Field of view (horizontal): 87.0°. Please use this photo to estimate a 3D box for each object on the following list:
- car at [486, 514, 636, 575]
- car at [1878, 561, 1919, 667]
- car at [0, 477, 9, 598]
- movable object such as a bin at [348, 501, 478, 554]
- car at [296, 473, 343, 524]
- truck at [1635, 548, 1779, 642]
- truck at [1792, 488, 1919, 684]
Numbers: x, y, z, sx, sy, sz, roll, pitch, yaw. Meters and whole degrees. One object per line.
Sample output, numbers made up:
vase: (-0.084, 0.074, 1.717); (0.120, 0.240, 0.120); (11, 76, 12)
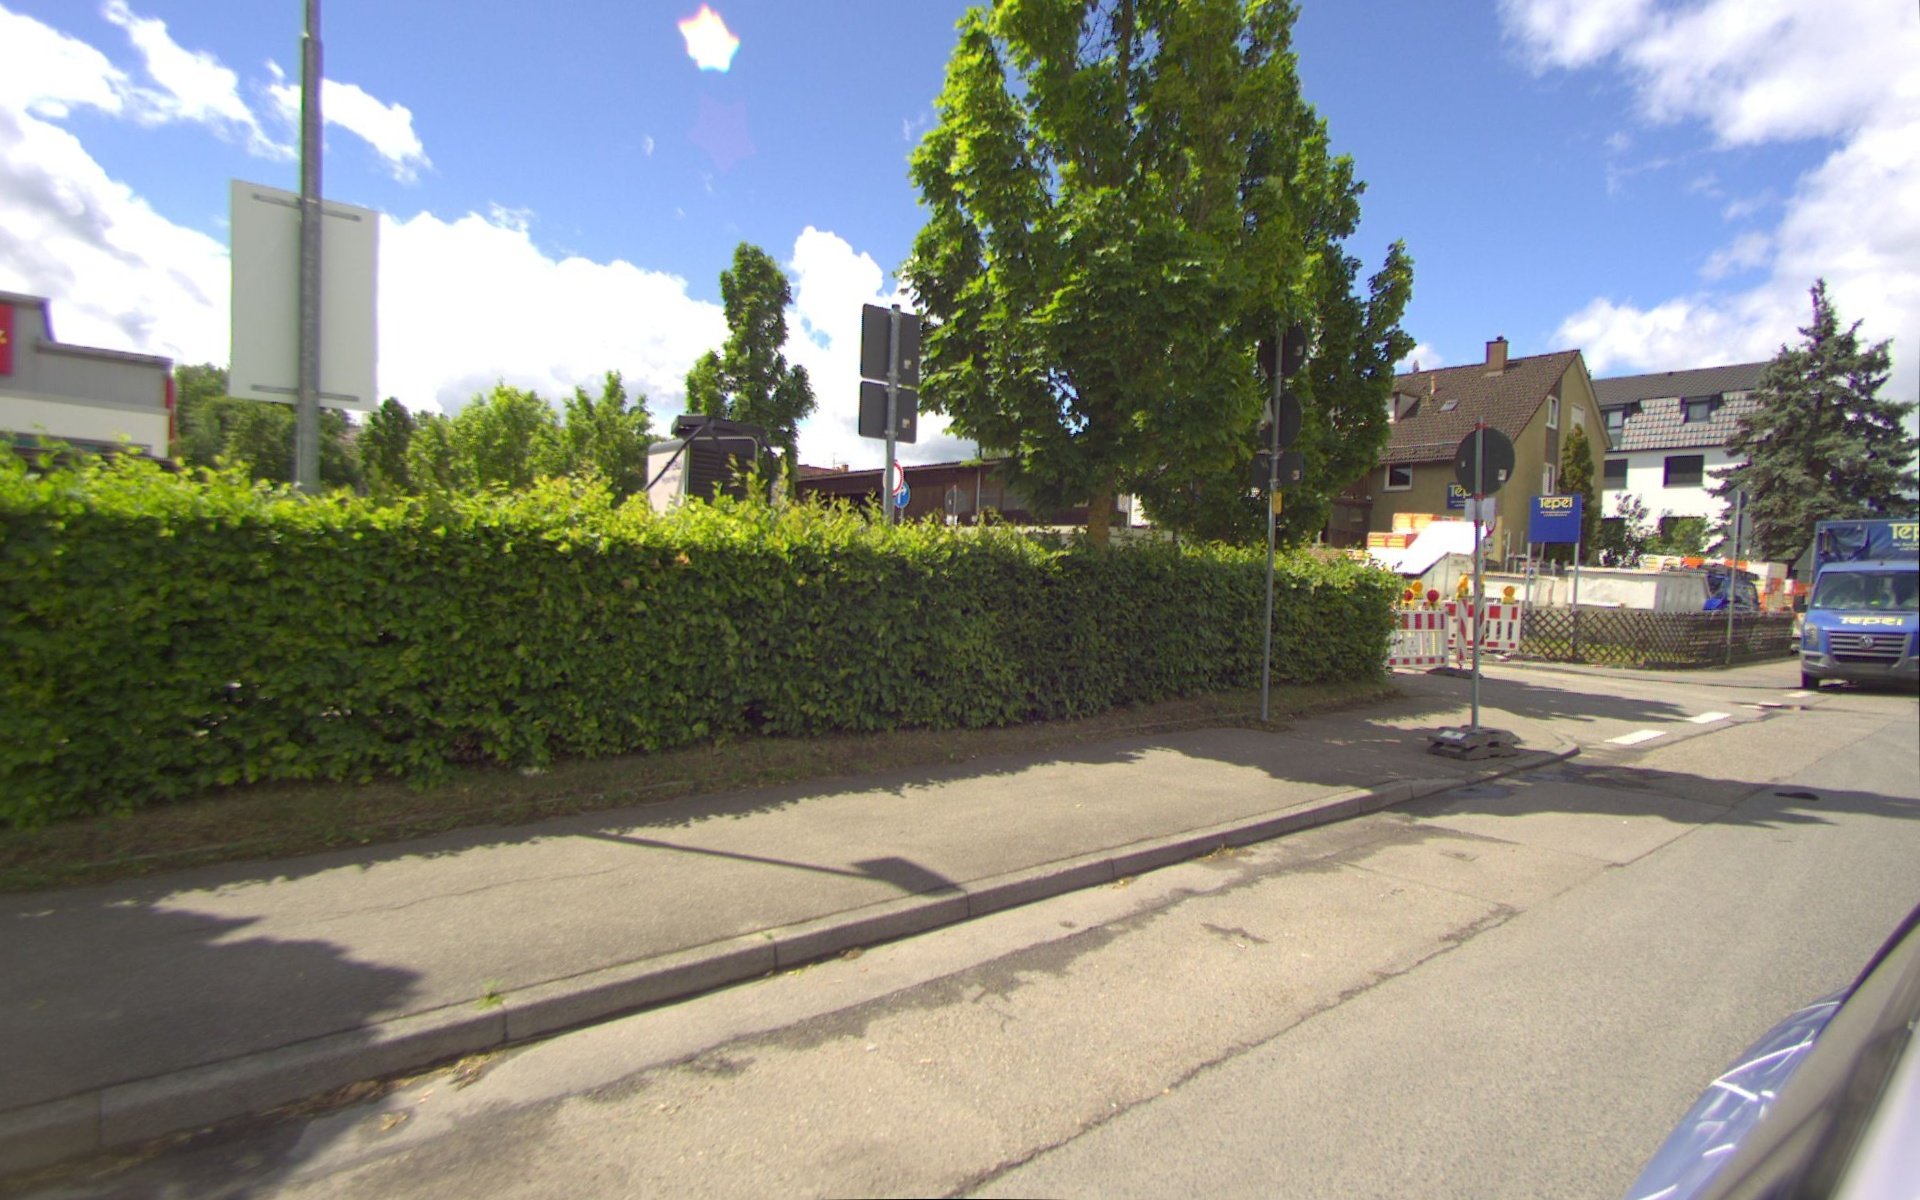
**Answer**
car: (-12.117, -1.625, 30.828); (3.927, 1.605, 1.750); (1, -1, -38)
car: (21.791, 0.318, 22.212); (4.385, 2.196, 1.877); (1, 0, -40)
car: (-15.429, -0.906, 14.886); (1.966, 1.728, 3.992); (1, -1, -42)
movable object such as a bin: (-34.695, -4.519, 64.242); (6.578, 2.797, 3.937); (1, -1, -41)
car: (-43.771, -6.876, 69.091); (1.900, 2.960, 5.163); (1, -1, -41)
truck: (19.583, -0.089, 26.424); (5.291, 2.107, 1.833); (2, 3, -42)
truck: (17.356, -0.199, 18.511); (5.935, 3.136, 2.325); (1, 0, -41)
